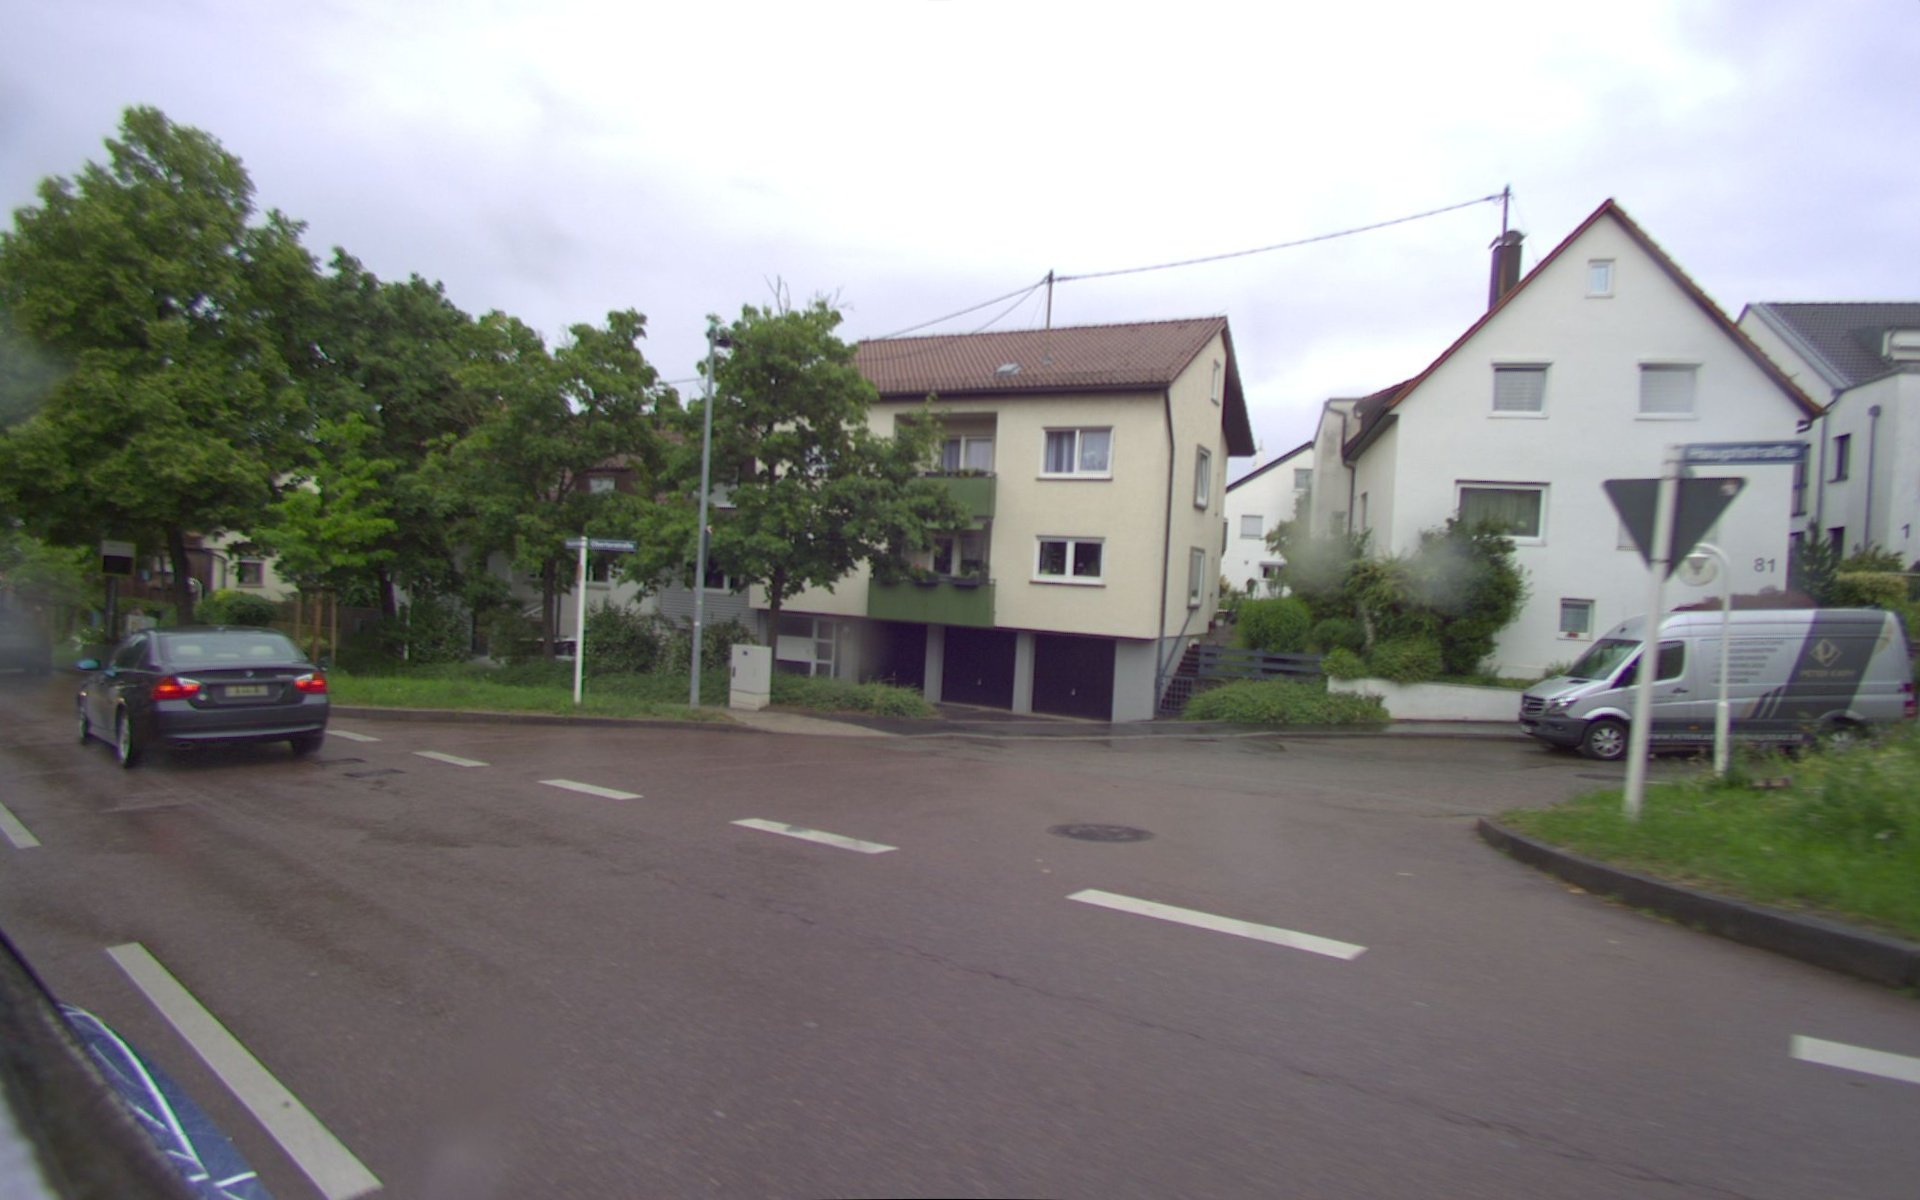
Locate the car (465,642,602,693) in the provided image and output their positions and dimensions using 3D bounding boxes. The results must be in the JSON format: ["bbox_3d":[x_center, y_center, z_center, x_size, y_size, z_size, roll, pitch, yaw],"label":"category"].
[{"bbox_3d":[-12.478,1.936,29.615,3.429,1.339,1.982,-1,-1,26],"label":"car"}]

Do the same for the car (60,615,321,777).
[{"bbox_3d":[-8.581,0.917,11.154,4.083,1.465,1.544,-1,-1,42],"label":"car"}]

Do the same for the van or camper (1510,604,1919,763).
[{"bbox_3d":[13.251,1.400,17.837,5.999,2.576,1.636,-1,1,11],"label":"van or camper"}]

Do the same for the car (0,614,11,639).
[{"bbox_3d":[-61.433,1.691,62.901,3.961,1.544,1.719,-1,-1,14],"label":"car"}]

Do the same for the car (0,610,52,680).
[{"bbox_3d":[-25.142,1.135,26.309,4.373,1.701,1.733,-1,-1,41],"label":"car"}]
